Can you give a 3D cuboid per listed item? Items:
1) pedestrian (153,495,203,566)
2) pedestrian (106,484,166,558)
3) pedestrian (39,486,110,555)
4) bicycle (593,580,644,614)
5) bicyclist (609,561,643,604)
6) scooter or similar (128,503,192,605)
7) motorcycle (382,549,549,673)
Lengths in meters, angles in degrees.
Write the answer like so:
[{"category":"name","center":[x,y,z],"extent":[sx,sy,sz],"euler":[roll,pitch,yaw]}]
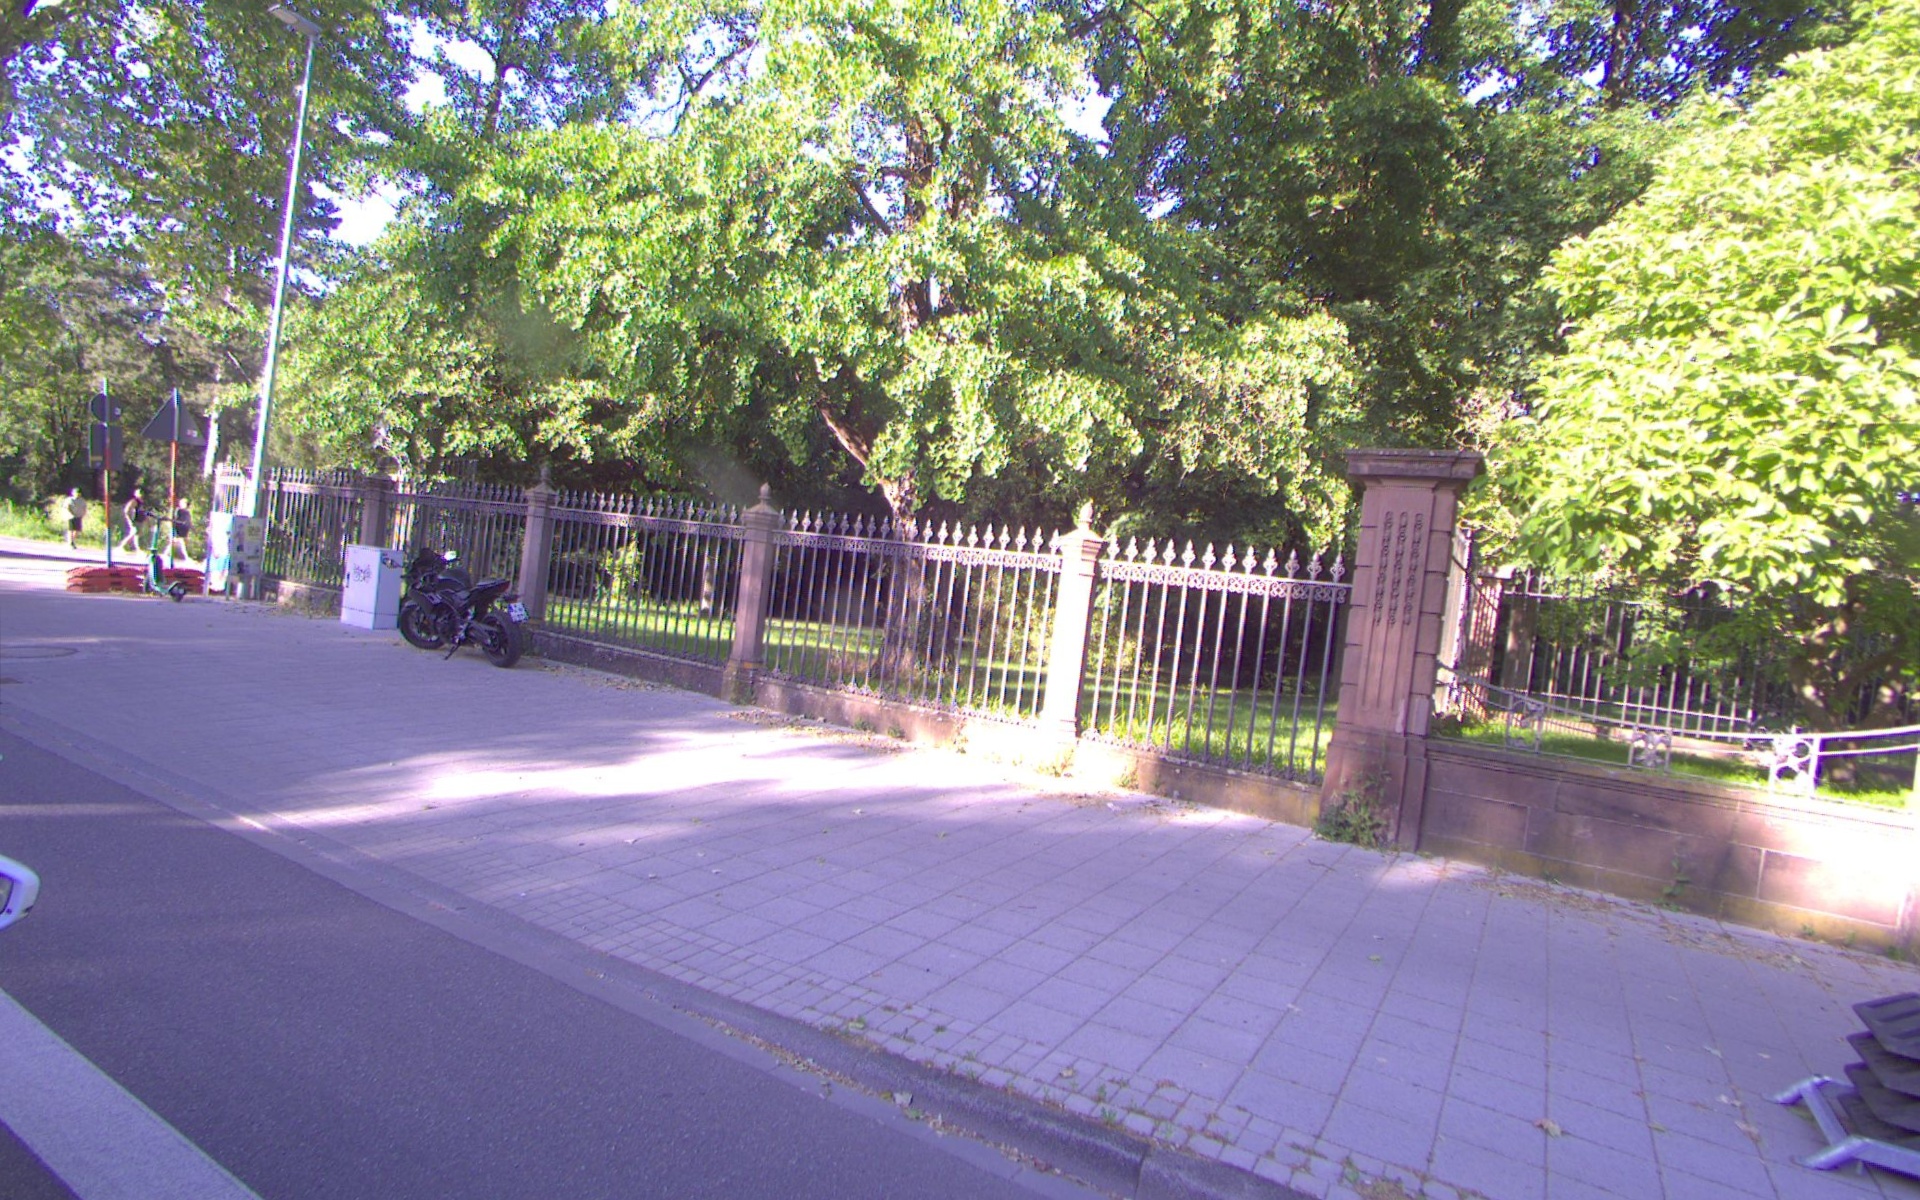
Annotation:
[{"category":"pedestrian","center":[-20.048,-1.776,25.805],"extent":[0.632,1.721,0.690],"euler":[7,2,25]},{"category":"pedestrian","center":[-21.754,-2.070,26.559],"extent":[0.817,1.794,0.819],"euler":[7,1,25]},{"category":"pedestrian","center":[-22.146,-1.988,25.175],"extent":[0.899,1.536,0.821],"euler":[7,-1,11]},{"category":"bicycle","center":[-12.278,-0.112,36.156],"extent":[0.468,1.027,1.614],"euler":[7,-1,42]},{"category":"bicyclist","center":[-12.055,-0.627,36.301],"extent":[0.657,1.448,0.781],"euler":[7,-1,43]},{"category":"scooter or similar","center":[-11.407,-0.664,14.332],"extent":[1.152,1.344,0.228],"euler":[7,2,30]},{"category":"motorcycle","center":[-5.516,0.098,11.174],"extent":[2.134,1.146,0.506],"euler":[7,2,30]}]
